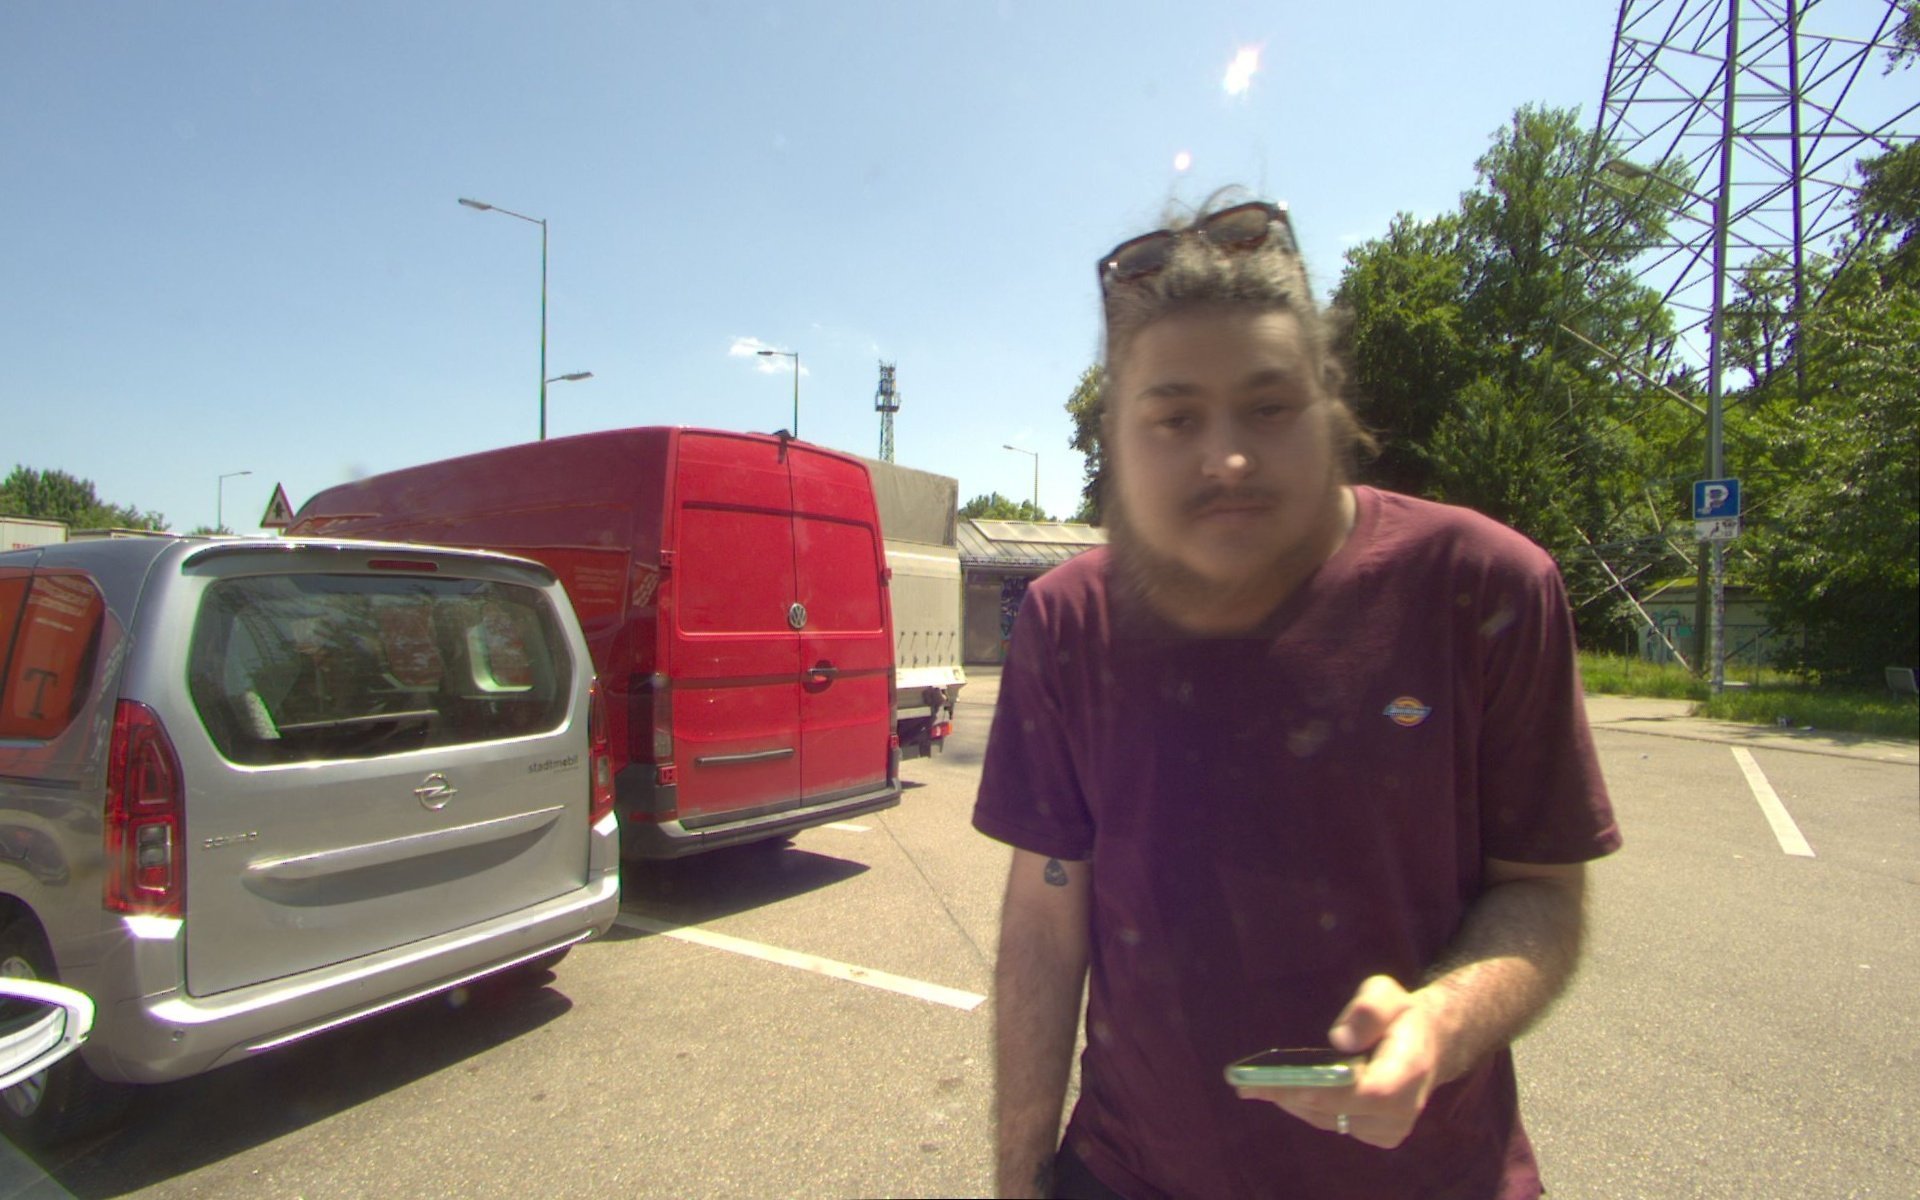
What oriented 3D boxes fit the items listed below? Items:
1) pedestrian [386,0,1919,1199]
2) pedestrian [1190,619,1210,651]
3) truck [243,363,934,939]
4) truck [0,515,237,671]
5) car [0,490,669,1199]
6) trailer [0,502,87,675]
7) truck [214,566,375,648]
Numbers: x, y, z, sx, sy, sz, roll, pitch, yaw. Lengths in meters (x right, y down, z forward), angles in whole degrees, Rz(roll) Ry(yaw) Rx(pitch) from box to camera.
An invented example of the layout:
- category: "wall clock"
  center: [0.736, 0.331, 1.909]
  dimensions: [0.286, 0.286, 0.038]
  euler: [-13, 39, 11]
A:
- category: "pedestrian"
  center: [0.228, 0.502, 0.791]
  dimensions: [0.926, 1.798, 0.827]
  euler: [0, -1, 28]
- category: "pedestrian"
  center: [10.586, 1.531, 44.160]
  dimensions: [0.579, 1.402, 0.754]
  euler: [1, -1, -8]
- category: "truck"
  center: [-2.856, 0.259, 6.991]
  dimensions: [5.233, 2.658, 1.987]
  euler: [0, -1, 37]
- category: "truck"
  center: [-27.981, -0.132, 31.782]
  dimensions: [14.316, 4.175, 2.901]
  euler: [0, -3, 33]
- category: "car"
  center: [-3.343, 0.634, 4.206]
  dimensions: [3.938, 1.776, 1.824]
  euler: [0, -1, 29]
- category: "trailer"
  center: [-28.787, -0.291, 28.028]
  dimensions: [13.374, 4.178, 2.871]
  euler: [0, -1, 33]
- category: "truck"
  center: [-30.696, 0.317, 46.070]
  dimensions: [8.407, 3.482, 3.019]
  euler: [0, -1, 33]
